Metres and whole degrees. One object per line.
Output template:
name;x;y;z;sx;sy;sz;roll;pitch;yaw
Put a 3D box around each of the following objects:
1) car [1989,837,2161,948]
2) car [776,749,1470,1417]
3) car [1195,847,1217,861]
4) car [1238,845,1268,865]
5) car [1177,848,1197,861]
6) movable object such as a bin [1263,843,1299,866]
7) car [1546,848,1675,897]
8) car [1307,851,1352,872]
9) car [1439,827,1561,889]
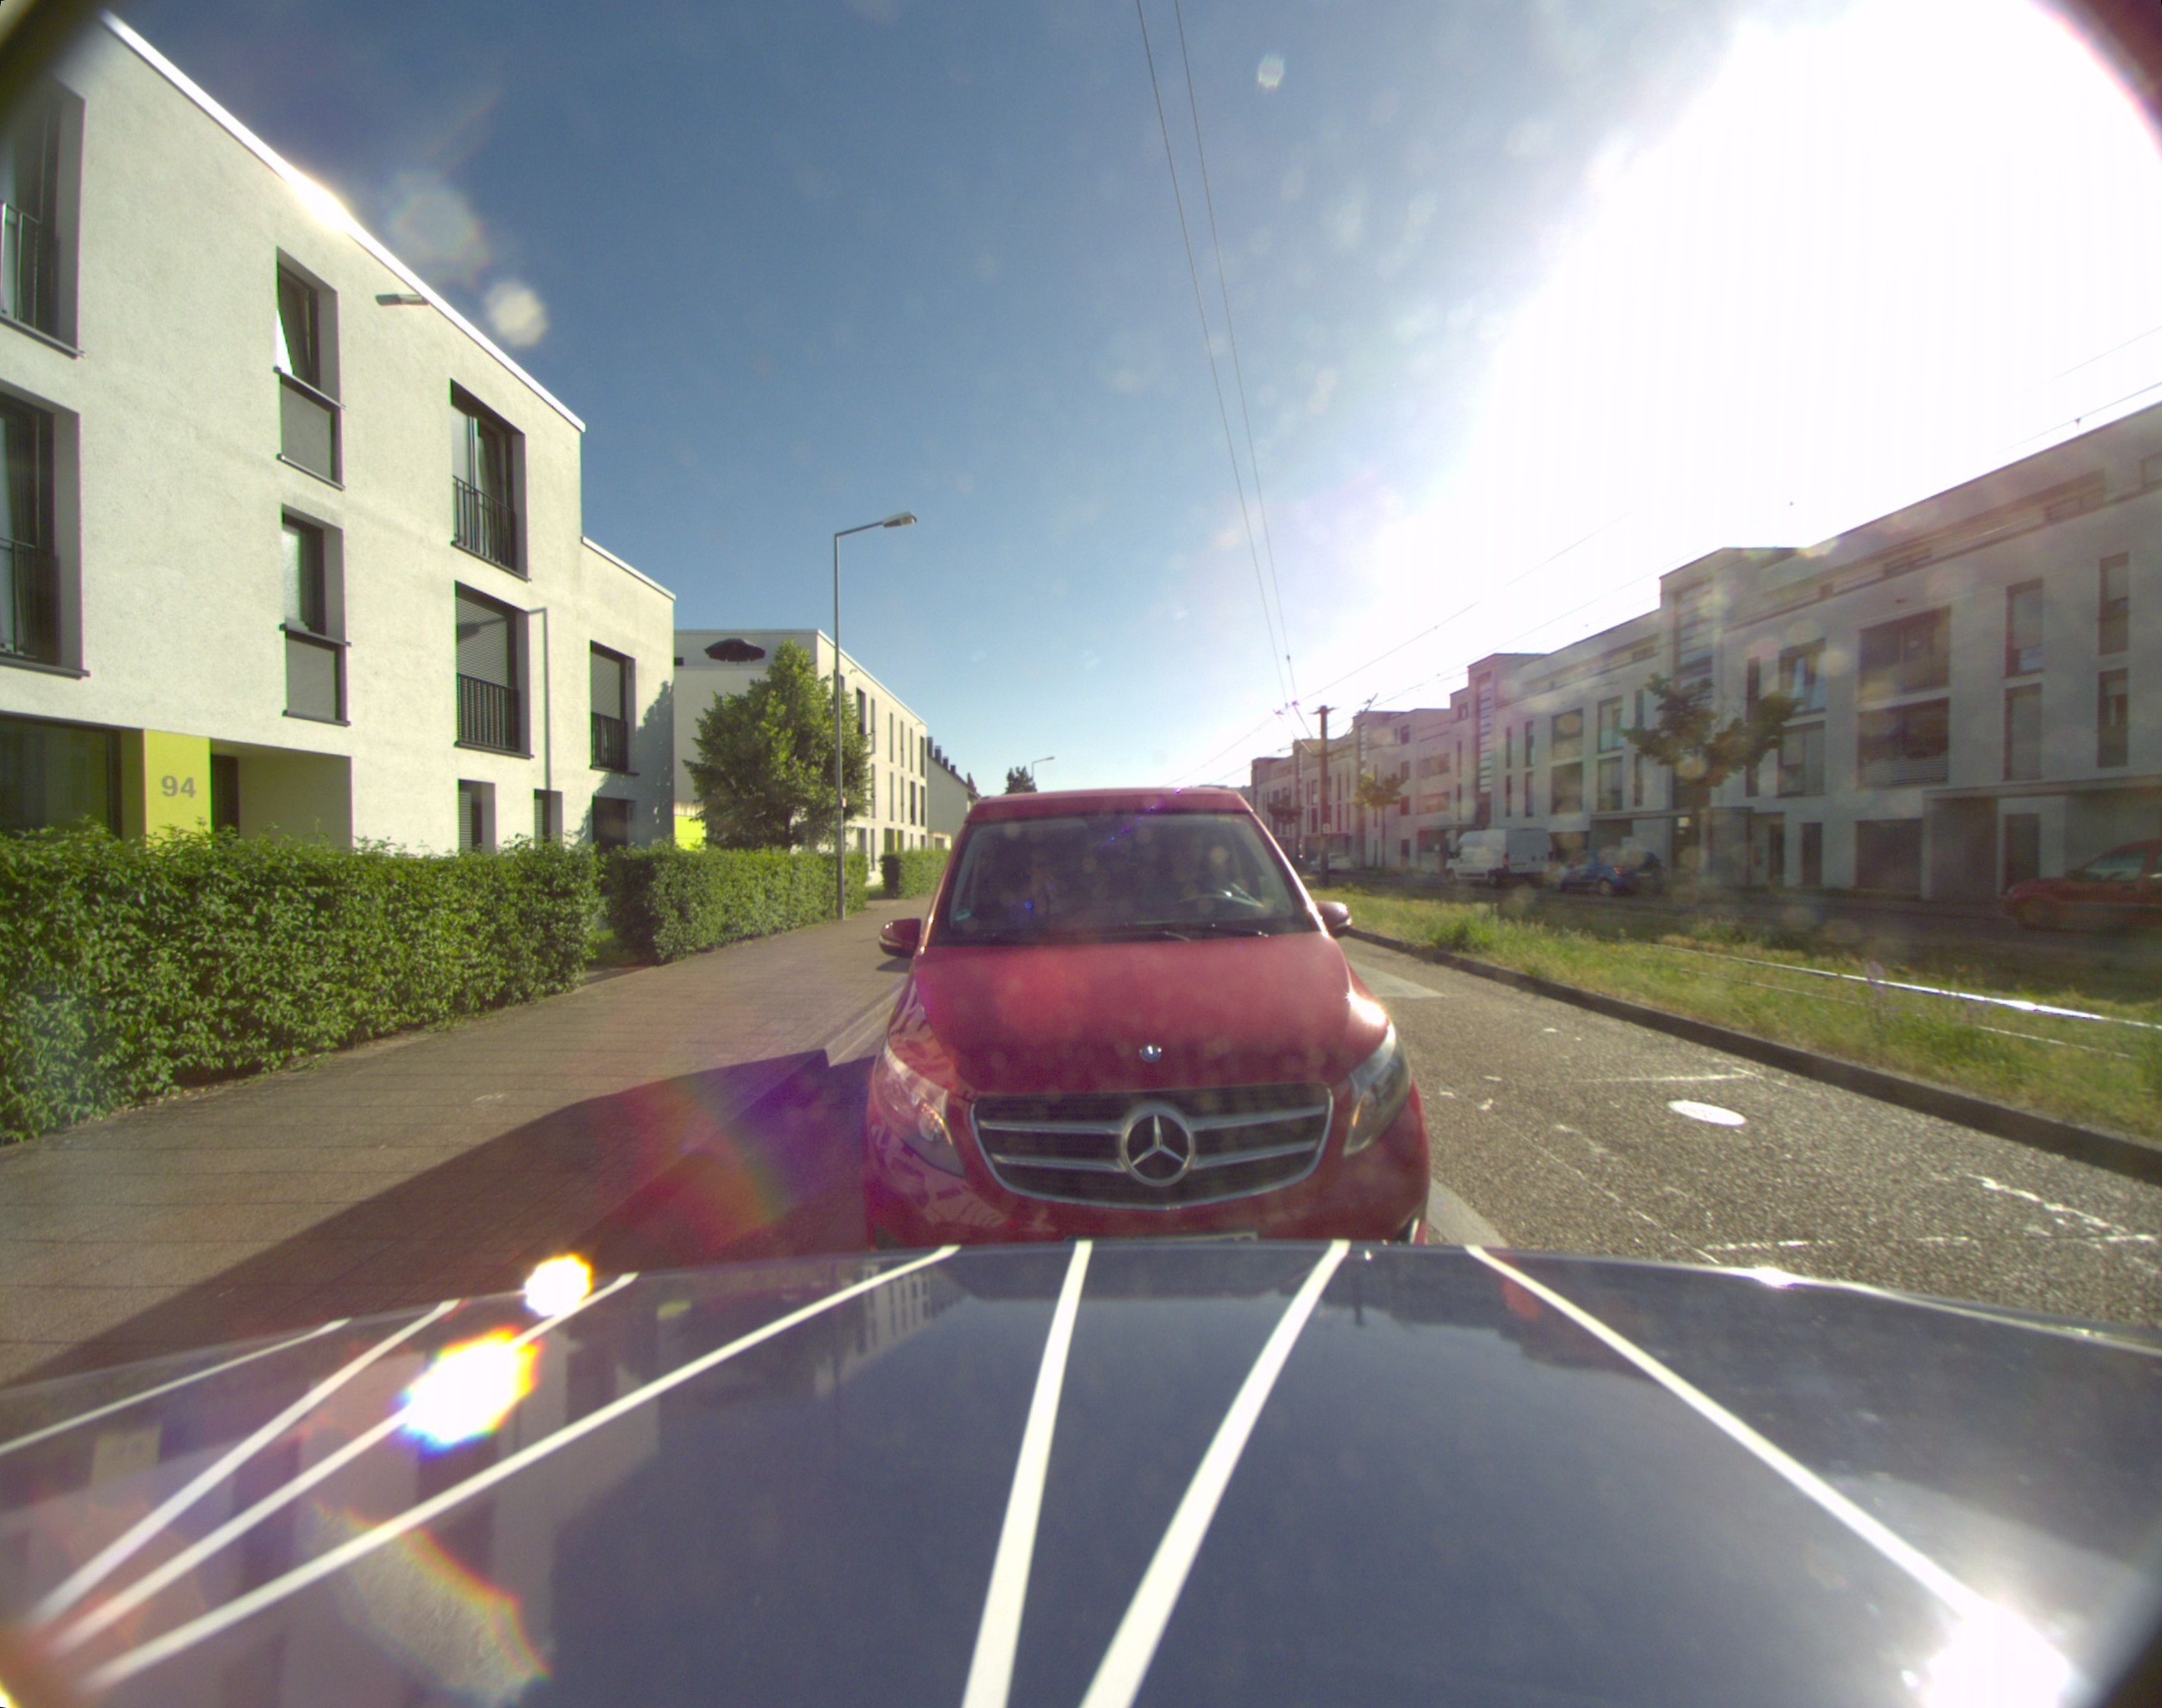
car;18.570;0.610;12.838;1.885;1.785;3.837;-2;0;1
car;0.185;0.680;4.853;1.979;1.922;5.205;-2;0;1
car;15.432;0.026;93.946;1.766;1.590;4.155;-2;0;-4
car;16.776;0.105;74.261;1.766;1.859;4.155;-2;0;-4
car;12.004;0.066;86.282;1.792;1.410;4.000;1;0;1
movable object such as a bin;17.623;0.007;67.080;1.766;1.926;4.155;-2;0;-4
car;18.251;0.576;26.421;1.829;1.528;3.842;-2;0;0
car;17.556;0.498;53.862;1.521;1.424;4.155;-2;0;-4
car;18.182;0.150;33.368;2.146;2.430;5.588;-2;0;-1
